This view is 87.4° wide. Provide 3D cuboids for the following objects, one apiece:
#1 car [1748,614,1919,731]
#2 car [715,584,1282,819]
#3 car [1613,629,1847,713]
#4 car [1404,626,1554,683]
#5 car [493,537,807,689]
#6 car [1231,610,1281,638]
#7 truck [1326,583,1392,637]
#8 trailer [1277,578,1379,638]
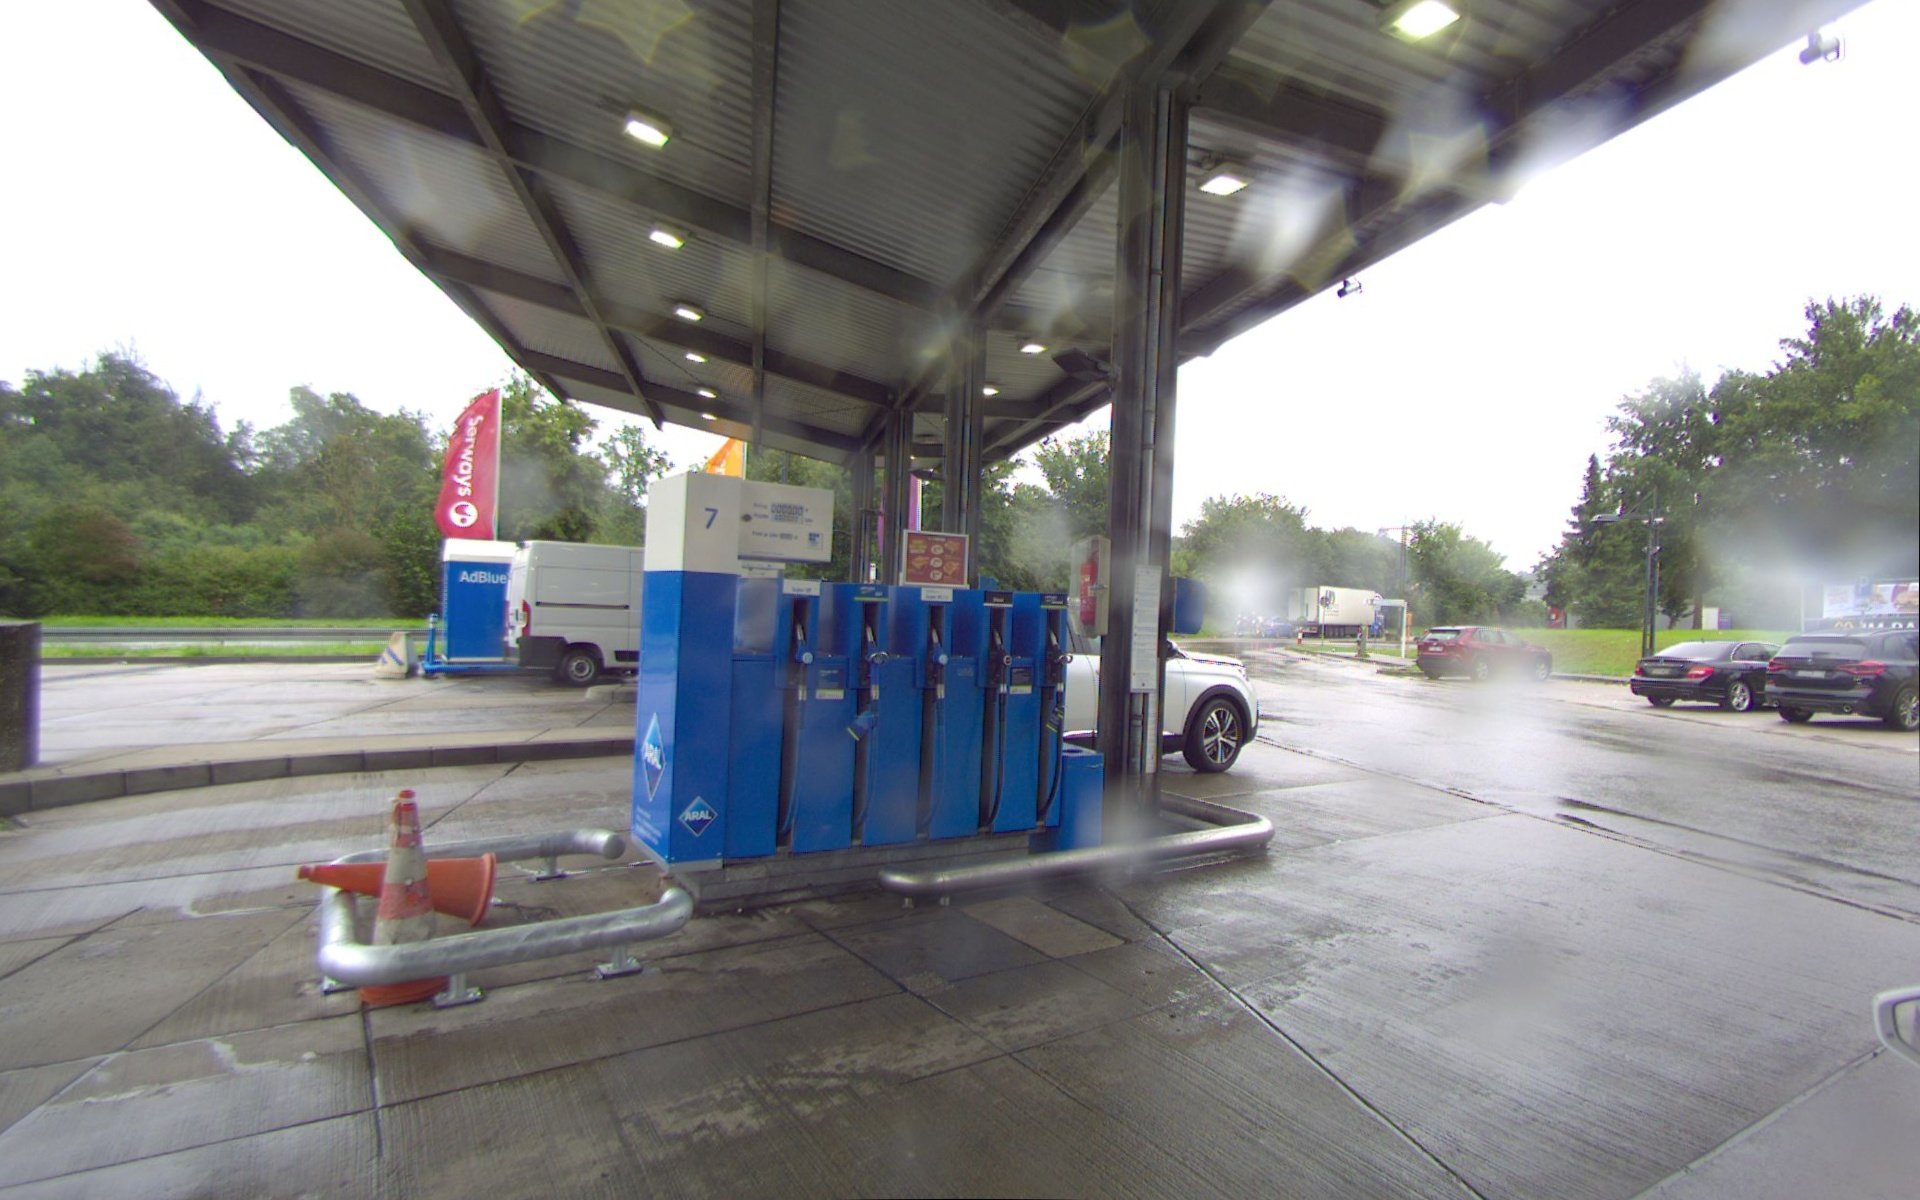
[{"bbox_3d":[16.162,1.194,17.418,4.344,1.852,1.883,1,-1,-19],"label":"car"},{"bbox_3d":[0.524,0.729,8.944,4.953,1.586,1.802,1,0,-35],"label":"car"},{"bbox_3d":[15.949,1.422,20.837,4.119,1.585,1.883,1,-1,-19],"label":"car"},{"bbox_3d":[16.013,1.652,30.983,4.294,1.617,1.879,1,-1,-24],"label":"car"},{"bbox_3d":[-5.769,0.275,18.980,5.227,2.496,2.306,1,-1,-34],"label":"car"},{"bbox_3d":[20.926,1.699,70.855,1.903,1.862,4.373,1,0,38],"label":"car"},{"bbox_3d":[35.598,0.932,89.473,3.416,4.618,6.704,2,0,40],"label":"truck"},{"bbox_3d":[30.925,0.762,83.869,3.416,4.618,13.847,2,0,40],"label":"trailer"}]
